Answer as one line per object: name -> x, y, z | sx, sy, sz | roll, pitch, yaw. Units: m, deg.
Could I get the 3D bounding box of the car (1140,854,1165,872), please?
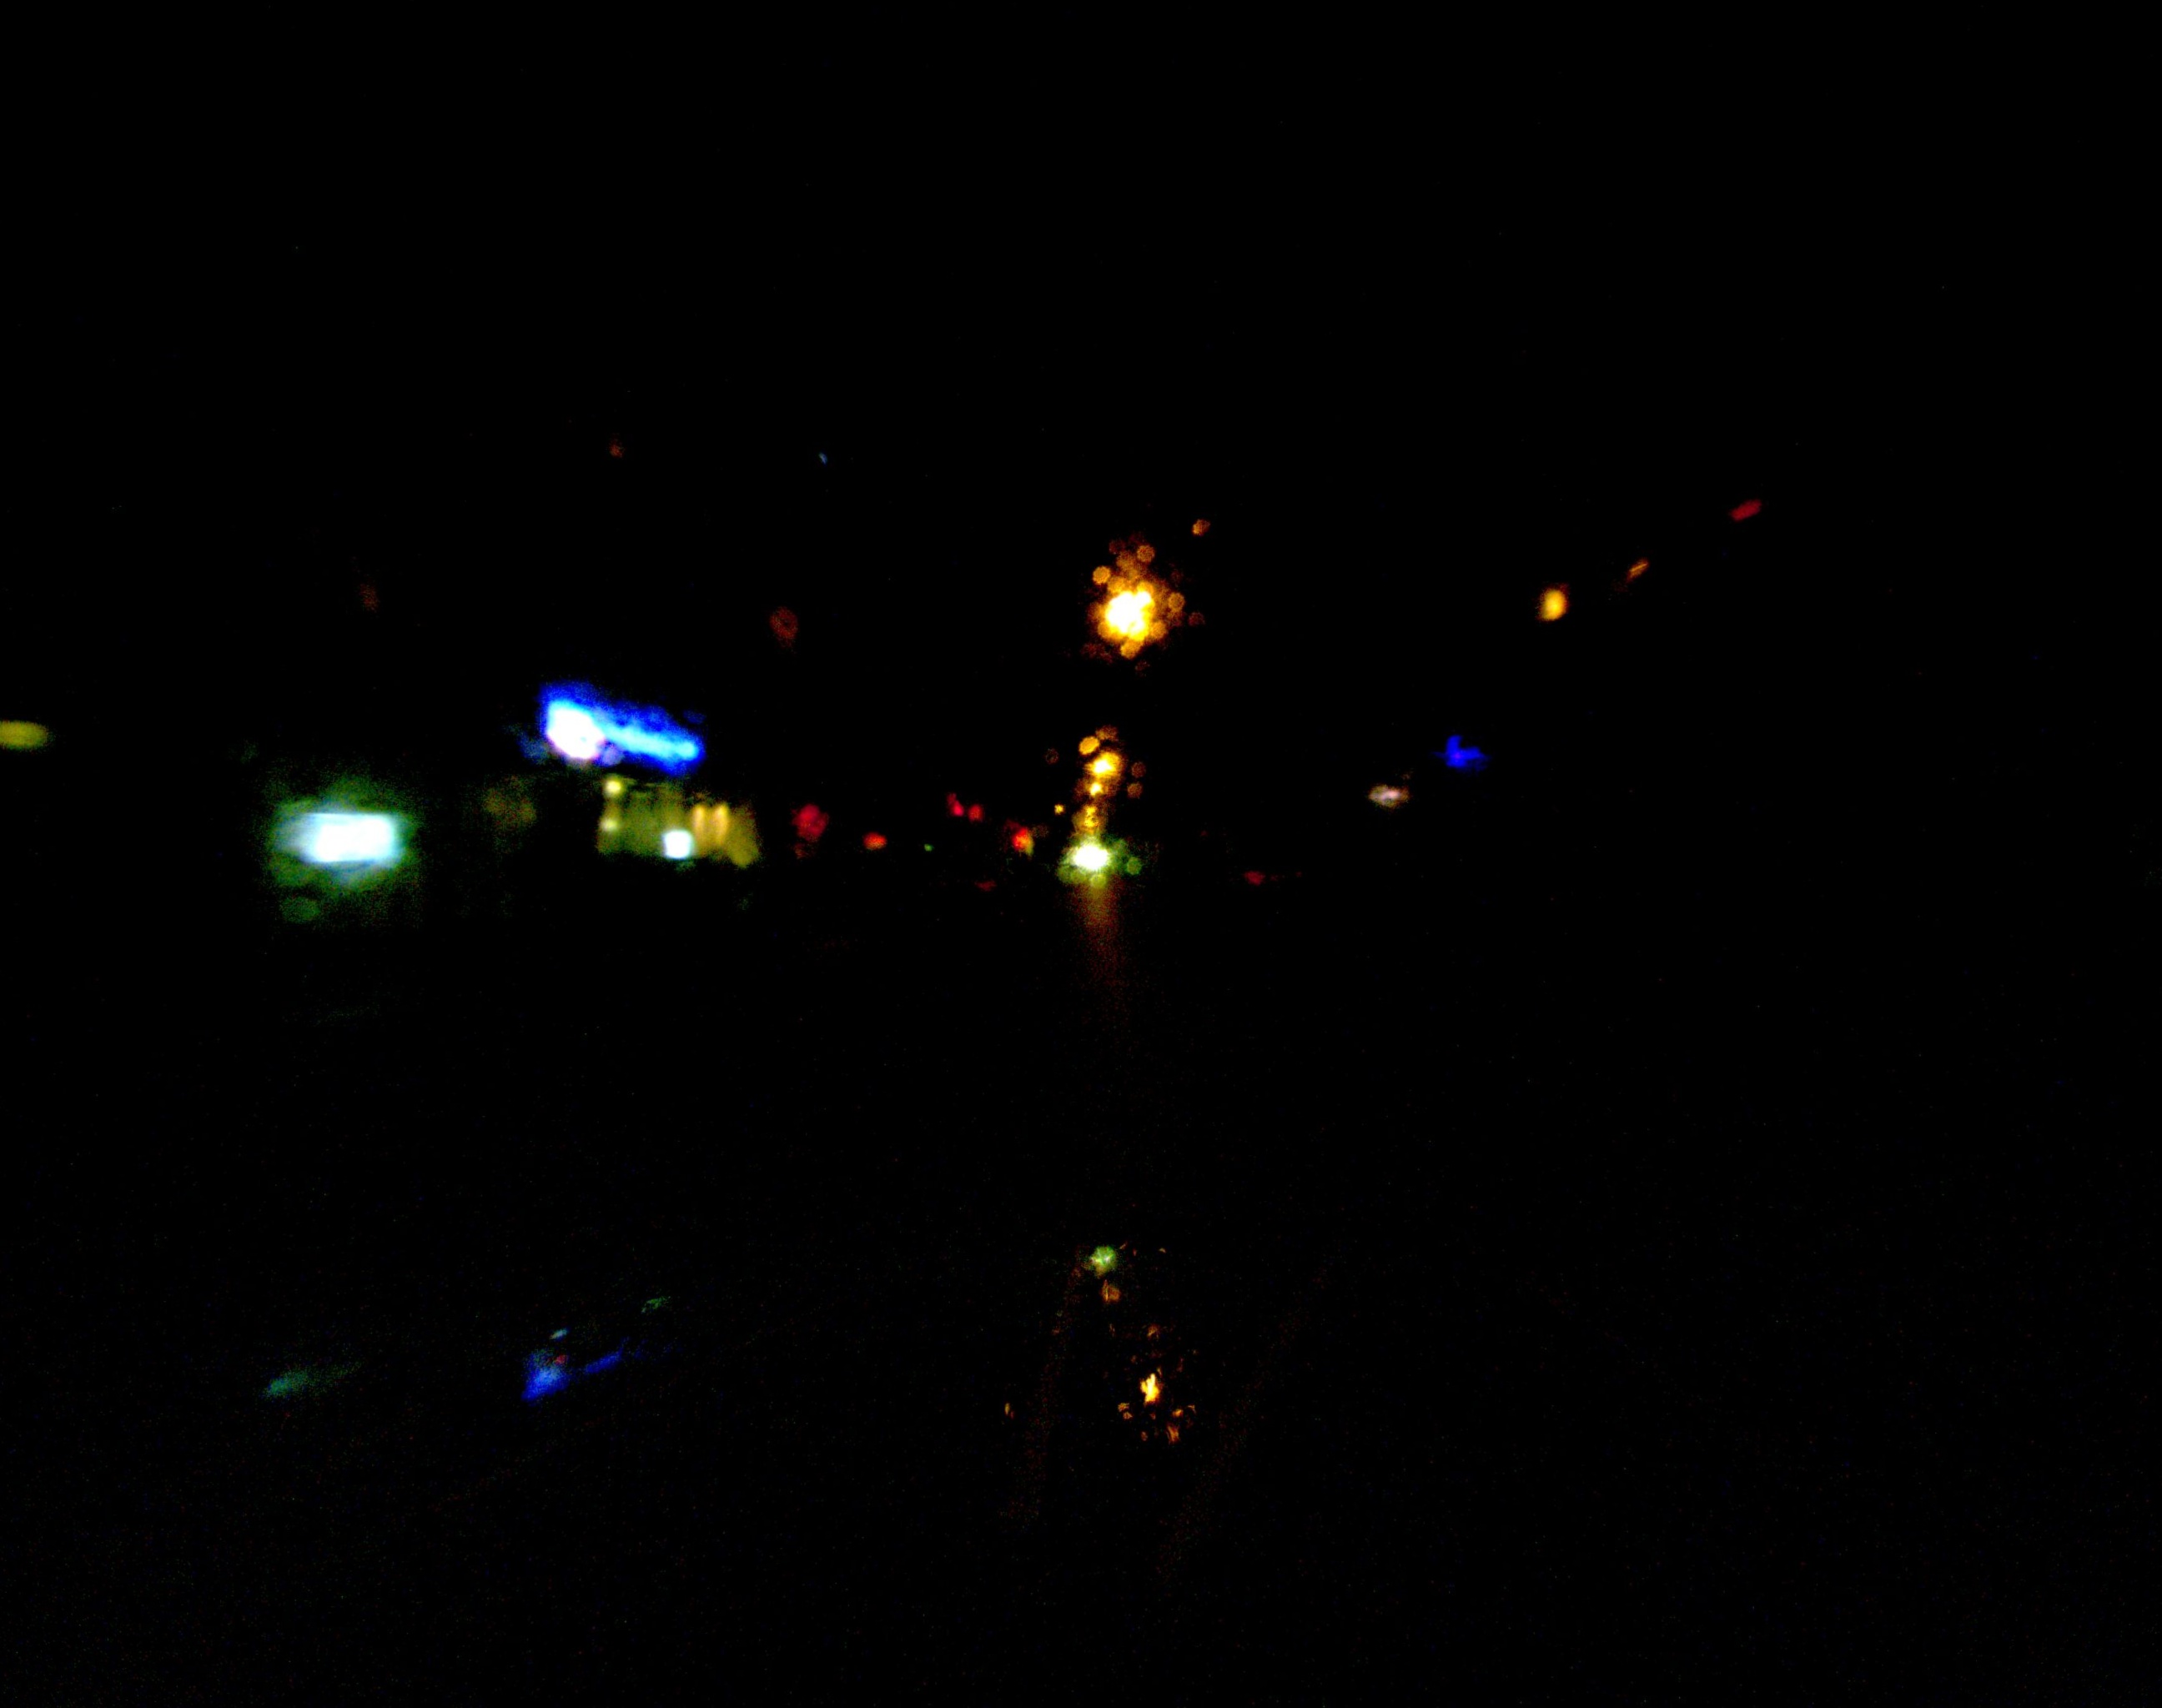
car -> 5.851, 0.711, 62.808 | 1.731, 1.384, 4.555 | -1, 0, 1

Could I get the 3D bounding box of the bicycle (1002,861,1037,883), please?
bicycle -> -3.175, 0.917, 39.011 | 1.672, 0.947, 0.366 | 5, 2, 8

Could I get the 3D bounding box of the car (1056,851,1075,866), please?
car -> -1.555, 0.403, 79.229 | 1.846, 1.498, 4.162 | 0, 1, 1

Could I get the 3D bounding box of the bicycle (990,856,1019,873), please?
bicycle -> -4.406, 0.617, 43.634 | 1.532, 0.829, 0.325 | 5, 2, 4

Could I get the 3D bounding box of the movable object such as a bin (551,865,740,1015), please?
movable object such as a bin -> -4.498, 0.843, 7.932 | 1.311, 1.421, 1.051 | -1, 1, 10

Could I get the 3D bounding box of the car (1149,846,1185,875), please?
car -> 5.673, 0.416, 50.730 | 1.907, 1.819, 4.829 | -1, 0, 1

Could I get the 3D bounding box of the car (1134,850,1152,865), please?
car -> 6.078, 0.316, 74.441 | 1.531, 1.445, 3.384 | -1, 0, 1

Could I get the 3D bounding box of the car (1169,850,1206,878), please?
car -> 5.771, 0.527, 41.548 | 1.573, 1.451, 3.720 | -1, 0, 1

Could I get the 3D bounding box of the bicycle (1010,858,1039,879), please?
bicycle -> -3.220, 0.816, 43.175 | 1.532, 1.018, 0.366 | 5, 2, 4

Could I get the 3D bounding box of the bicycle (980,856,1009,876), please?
bicycle -> -4.718, 0.665, 41.484 | 1.533, 0.947, 0.366 | 5, 2, -4

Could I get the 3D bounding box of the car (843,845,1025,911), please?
car -> -3.888, 0.610, 20.664 | 4.524, 1.522, 1.780 | 2, 1, 0

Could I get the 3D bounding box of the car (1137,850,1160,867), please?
car -> 6.092, 0.370, 68.797 | 1.731, 1.445, 4.272 | -1, 0, 1

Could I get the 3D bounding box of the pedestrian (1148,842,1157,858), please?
pedestrian -> 8.658, -0.490, 92.399 | 0.912, 1.778, 0.629 | -3, 1, 1

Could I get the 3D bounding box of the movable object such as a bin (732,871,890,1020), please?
movable object such as a bin -> -2.983, 0.924, 8.376 | 1.344, 1.421, 1.198 | -1, 1, -36

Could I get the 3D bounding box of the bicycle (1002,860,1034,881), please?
bicycle -> -3.272, 0.836, 39.538 | 1.531, 0.947, 0.366 | 5, 2, 8

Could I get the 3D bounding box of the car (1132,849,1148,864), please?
car -> 6.276, 0.273, 80.621 | 1.696, 1.470, 3.385 | -1, -1, 5

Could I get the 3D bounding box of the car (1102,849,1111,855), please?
car -> 5.661, -0.441, 167.480 | 1.877, 1.386, 4.075 | -1, -1, 4

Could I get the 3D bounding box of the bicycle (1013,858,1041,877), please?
bicycle -> -3.175, 0.795, 44.481 | 1.532, 1.018, 0.366 | 5, 2, -1

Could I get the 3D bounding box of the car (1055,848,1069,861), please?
car -> -2.583, 0.034, 104.723 | 1.846, 1.687, 4.162 | 0, 1, 1

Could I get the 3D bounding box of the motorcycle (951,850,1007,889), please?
motorcycle -> -4.497, 0.679, 33.551 | 2.294, 1.579, 0.866 | 3, 1, 0

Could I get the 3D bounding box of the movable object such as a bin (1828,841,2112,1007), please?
movable object such as a bin -> 8.462, 0.608, 7.344 | 1.104, 1.446, 1.378 | 0, 1, -1

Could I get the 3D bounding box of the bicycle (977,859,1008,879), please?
bicycle -> -4.745, 0.807, 40.842 | 1.533, 0.947, 0.366 | 5, 2, -3

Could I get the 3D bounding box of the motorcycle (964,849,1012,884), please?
motorcycle -> -4.487, 0.586, 36.760 | 2.178, 1.538, 0.866 | 3, 1, 0

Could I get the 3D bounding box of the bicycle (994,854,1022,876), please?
bicycle -> -4.312, 0.652, 45.139 | 1.532, 1.195, 0.366 | 5, 2, -1

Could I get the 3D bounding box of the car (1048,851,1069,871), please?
car -> -1.941, 0.565, 67.591 | 1.676, 1.712, 3.856 | 0, 1, 1

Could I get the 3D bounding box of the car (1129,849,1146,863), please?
car -> 6.245, 0.250, 84.652 | 1.697, 1.470, 3.964 | -1, -1, 2

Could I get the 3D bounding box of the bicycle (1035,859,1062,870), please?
bicycle -> -2.696, 0.848, 62.469 | 2.267, 0.889, 0.619 | 0, 1, 30

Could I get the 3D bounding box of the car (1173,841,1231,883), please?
car -> 5.585, 0.348, 35.756 | 2.001, 1.819, 5.206 | -1, 0, 1

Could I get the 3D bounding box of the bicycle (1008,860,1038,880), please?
bicycle -> -3.138, 0.865, 40.904 | 1.533, 0.947, 0.366 | 5, 2, -3

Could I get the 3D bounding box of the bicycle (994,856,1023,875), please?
bicycle -> -4.084, 0.642, 42.731 | 1.532, 0.947, 0.366 | 5, 2, 4

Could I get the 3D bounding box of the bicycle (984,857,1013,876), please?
bicycle -> -4.551, 0.679, 41.919 | 1.533, 0.947, 0.366 | 5, 2, -3

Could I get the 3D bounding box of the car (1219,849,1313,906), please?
car -> 5.549, 0.639, 23.392 | 1.771, 1.474, 4.772 | -4, 0, 1

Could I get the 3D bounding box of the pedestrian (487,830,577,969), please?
pedestrian -> -7.296, 0.590, 10.123 | 0.704, 1.778, 0.624 | 1, 0, 4

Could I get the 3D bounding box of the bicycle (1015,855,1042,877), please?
bicycle -> -3.146, 0.719, 45.610 | 1.532, 1.195, 0.366 | 5, 2, -1

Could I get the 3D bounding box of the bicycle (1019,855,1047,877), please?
bicycle -> -2.916, 0.700, 46.059 | 1.532, 1.195, 0.366 | 5, 2, 3

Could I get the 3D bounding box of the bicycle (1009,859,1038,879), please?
bicycle -> -3.121, 0.825, 41.314 | 1.533, 0.947, 0.366 | 5, 2, -3
